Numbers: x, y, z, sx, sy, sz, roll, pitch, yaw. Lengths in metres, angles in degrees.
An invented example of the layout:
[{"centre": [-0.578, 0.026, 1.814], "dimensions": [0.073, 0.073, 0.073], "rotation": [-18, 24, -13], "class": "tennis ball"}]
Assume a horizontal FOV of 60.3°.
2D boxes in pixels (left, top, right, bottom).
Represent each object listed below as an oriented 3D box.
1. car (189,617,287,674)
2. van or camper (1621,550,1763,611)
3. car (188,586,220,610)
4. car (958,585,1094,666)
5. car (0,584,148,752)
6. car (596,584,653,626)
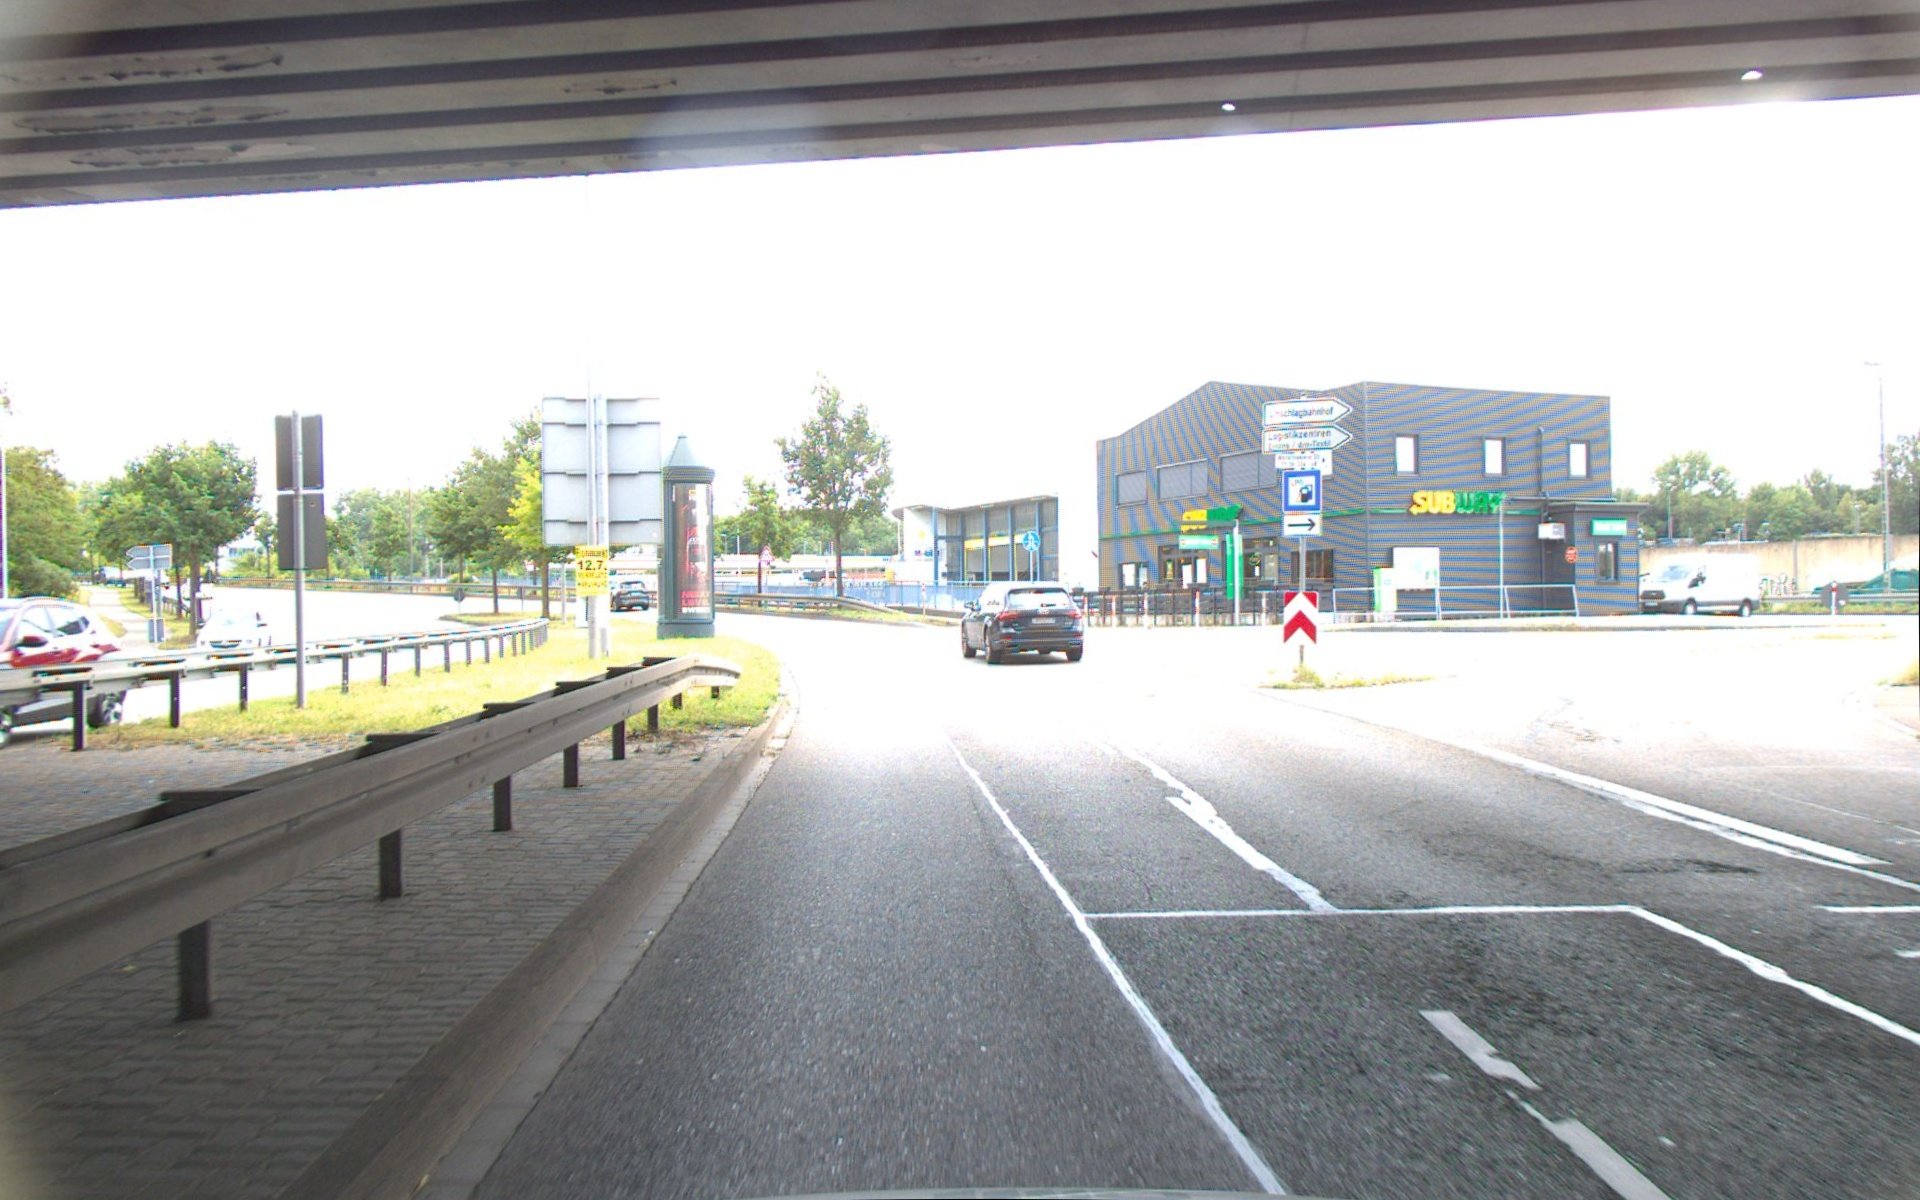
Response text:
[{"centre": [-21.700, 1.330, 49.864], "dimensions": [1.720, 1.537, 3.991], "rotation": [-2, 0, -9], "class": "car"}, {"centre": [27.988, -0.695, 63.146], "dimensions": [6.176, 2.211, 2.100], "rotation": [1, -1, -36], "class": "van or camper"}, {"centre": [-54.753, -0.128, 119.821], "dimensions": [1.969, 1.558, 4.297], "rotation": [-4, 1, -25], "class": "car"}, {"centre": [1.162, 0.428, 31.280], "dimensions": [1.955, 1.415, 4.570], "rotation": [0, 0, -6], "class": "car"}, {"centre": [-10.804, 0.723, 18.117], "dimensions": [1.955, 1.704, 4.318], "rotation": [-2, 0, -5], "class": "car"}, {"centre": [-17.703, 0.261, 87.133], "dimensions": [1.968, 2.073, 4.676], "rotation": [-1, -1, -24], "class": "car"}]
